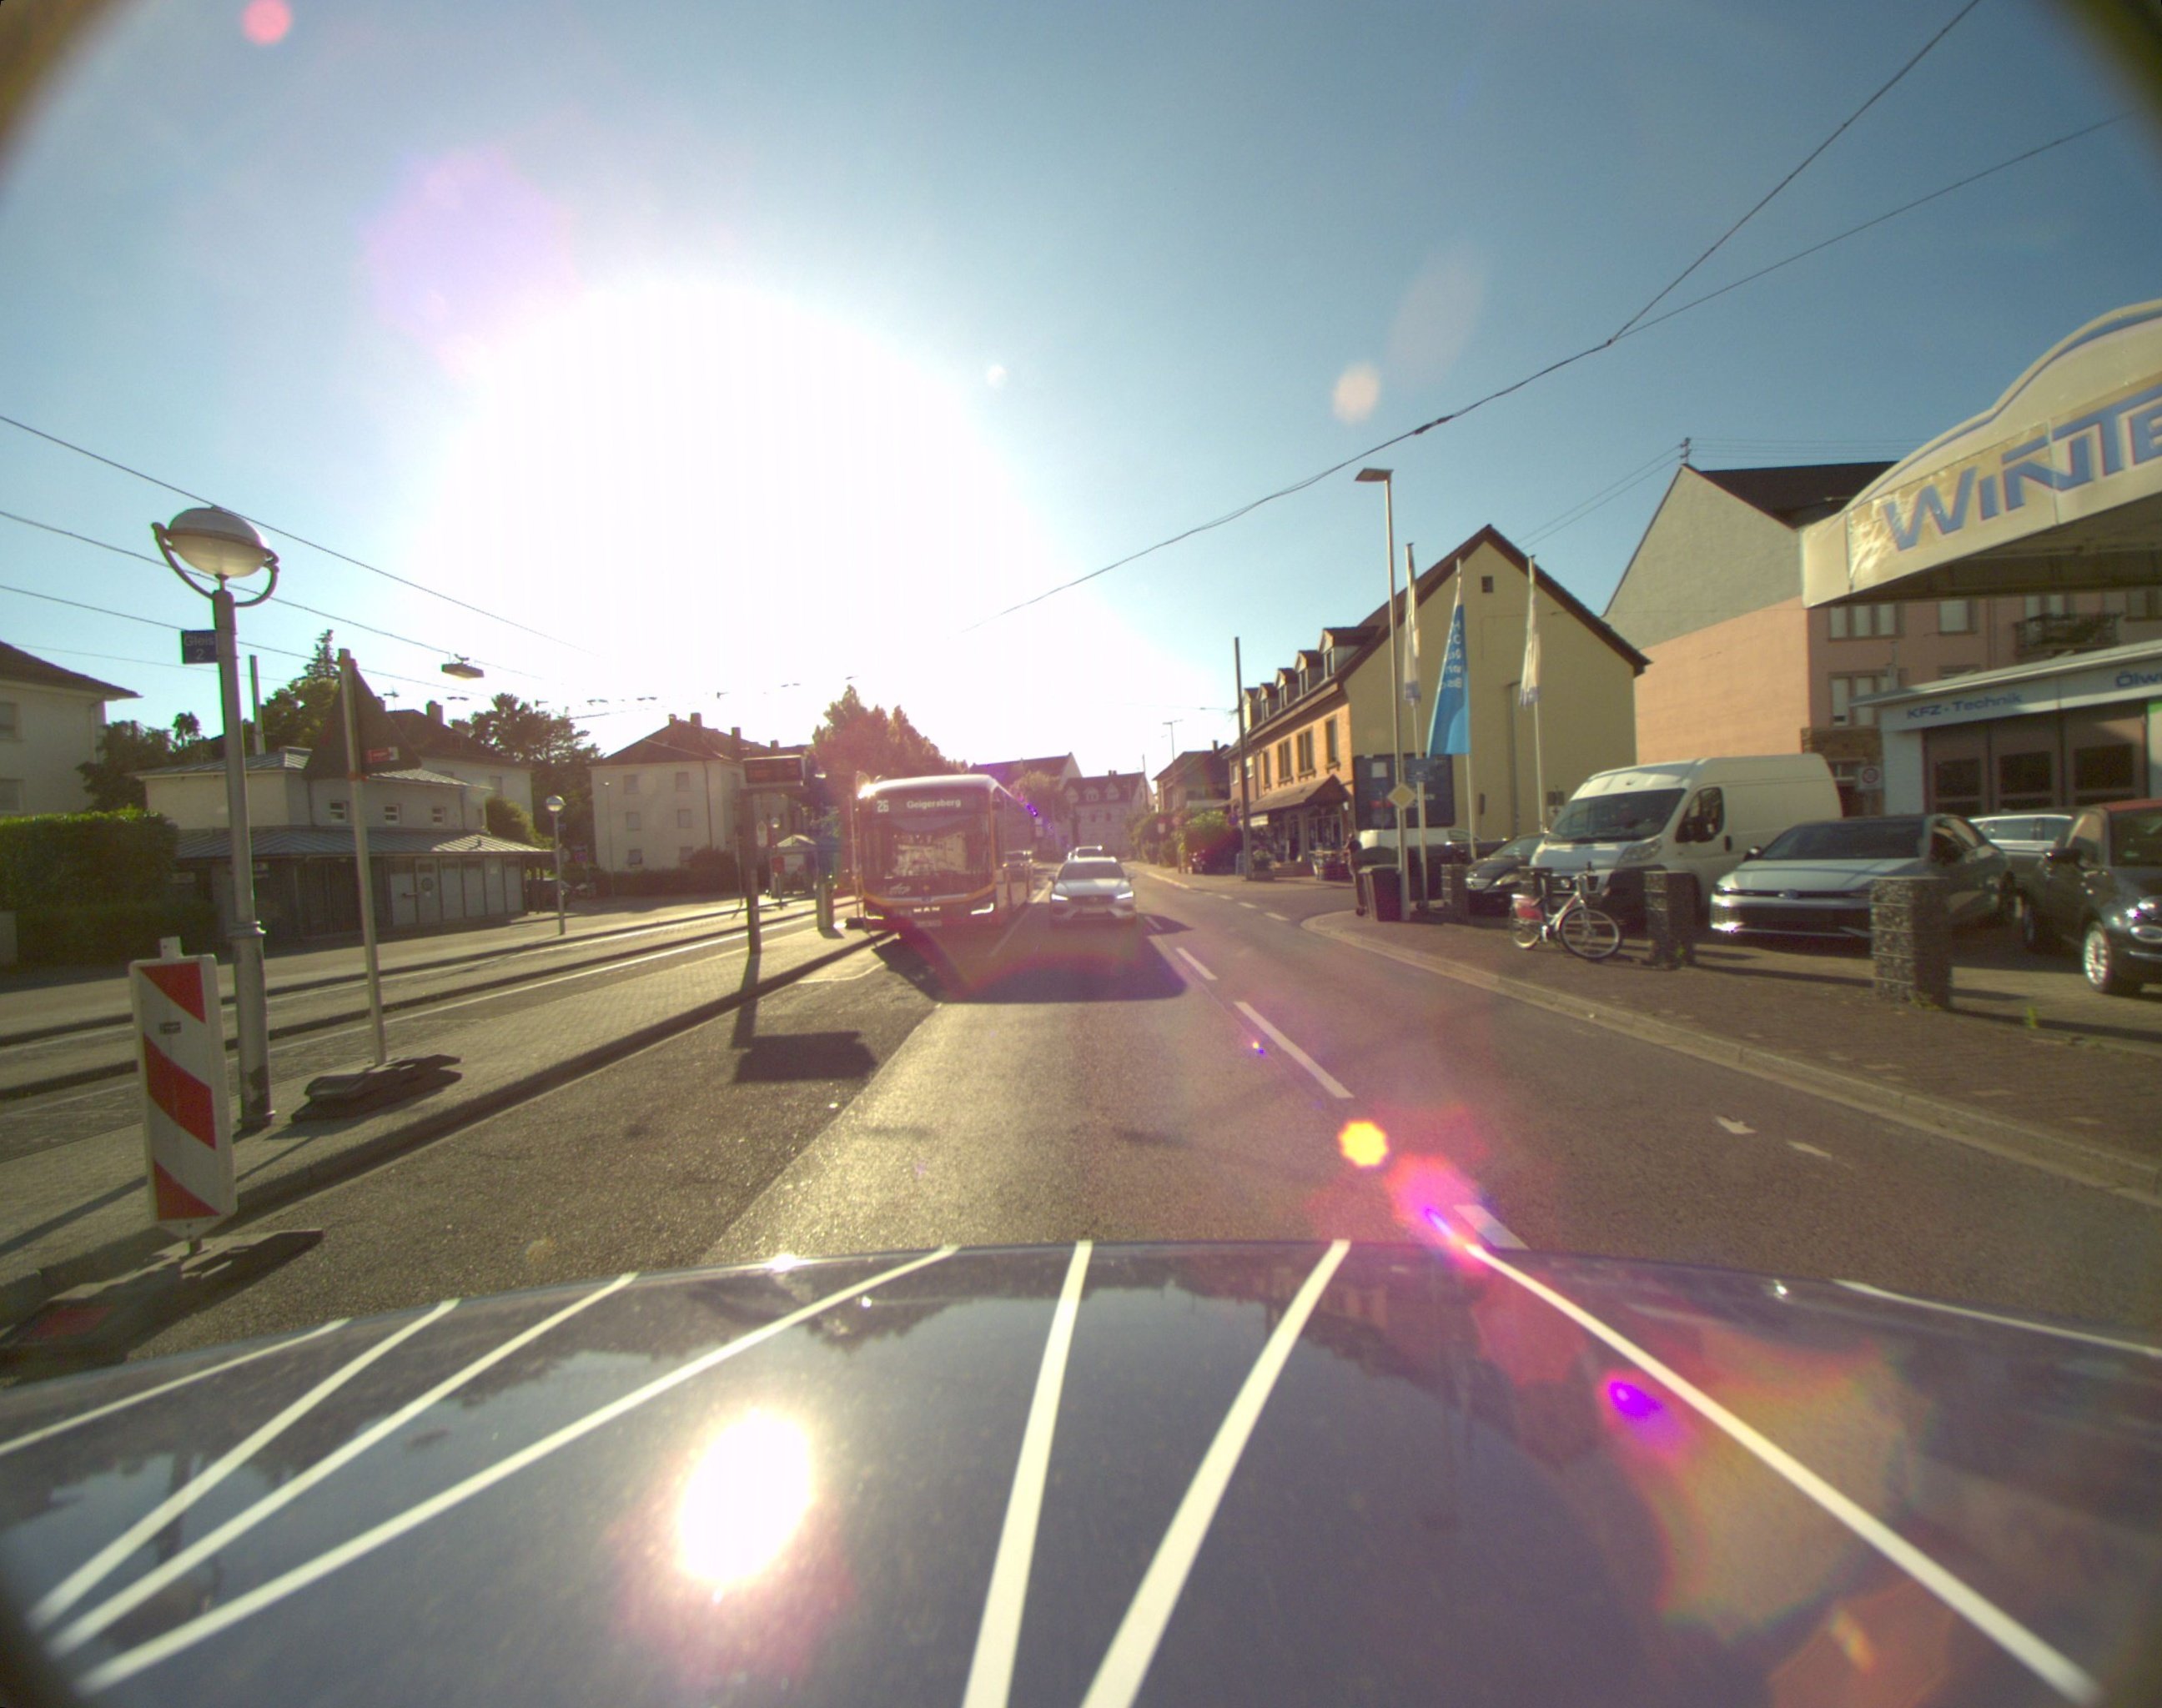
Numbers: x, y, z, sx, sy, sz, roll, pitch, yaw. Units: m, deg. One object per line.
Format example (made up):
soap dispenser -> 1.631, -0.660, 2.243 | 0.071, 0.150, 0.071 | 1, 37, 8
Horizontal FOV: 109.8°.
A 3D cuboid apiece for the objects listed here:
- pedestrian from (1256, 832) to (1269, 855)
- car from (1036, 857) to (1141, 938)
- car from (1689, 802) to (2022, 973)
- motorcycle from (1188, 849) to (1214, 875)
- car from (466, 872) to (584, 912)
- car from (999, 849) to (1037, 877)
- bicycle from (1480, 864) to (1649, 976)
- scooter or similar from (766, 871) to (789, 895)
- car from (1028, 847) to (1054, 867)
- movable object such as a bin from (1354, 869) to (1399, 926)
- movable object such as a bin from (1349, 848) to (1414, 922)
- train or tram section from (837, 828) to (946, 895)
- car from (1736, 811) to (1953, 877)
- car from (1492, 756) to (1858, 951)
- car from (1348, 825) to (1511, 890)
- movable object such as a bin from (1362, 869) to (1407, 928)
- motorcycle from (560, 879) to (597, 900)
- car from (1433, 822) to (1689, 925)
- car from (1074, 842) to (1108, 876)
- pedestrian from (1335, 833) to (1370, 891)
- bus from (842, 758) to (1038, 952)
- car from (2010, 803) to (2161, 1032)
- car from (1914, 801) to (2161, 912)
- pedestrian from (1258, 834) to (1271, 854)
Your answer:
pedestrian -> 9.918, -0.589, 41.548 | 0.524, 1.251, 0.465 | -3, 1, 1
car -> 0.287, 0.867, 17.206 | 1.998, 1.454, 4.450 | -3, 0, 4
car -> 9.359, 0.290, 9.135 | 4.005, 1.559, 1.769 | -4, 0, -29
motorcycle -> 6.320, 0.386, 40.178 | 0.841, 1.275, 2.231 | -4, 1, -3
car -> -27.882, 1.899, 38.201 | 4.448, 1.759, 2.000 | -2, 1, 4
car -> -3.959, 0.538, 48.315 | 1.998, 1.664, 4.000 | -2, 0, 1
bicycle -> 5.878, 0.748, 9.376 | 0.725, 1.171, 1.779 | -3, 1, -9
scooter or similar -> -16.106, 1.521, 40.302 | 0.467, 1.201, 1.210 | -2, 1, 11
car -> -3.578, 0.296, 68.178 | 1.998, 1.664, 4.000 | -2, 0, 1
movable object such as a bin -> 5.870, 0.854, 15.119 | 0.661, 1.056, 0.585 | -5, -1, 12
movable object such as a bin -> 6.410, 0.648, 16.177 | 1.055, 1.473, 1.315 | -4, -2, 28
train or tram section -> -11.664, 0.182, 49.150 | 2.965, 3.514, 15.964 | -2, 2, 0
car -> 21.082, -0.313, 21.134 | 3.997, 1.517, 1.998 | -3, 5, 0
car -> 9.178, -0.112, 11.744 | 5.076, 2.455, 2.105 | -4, 1, -22
car -> 11.873, 0.098, 26.109 | 4.627, 1.922, 1.999 | -3, 1, -2
movable object such as a bin -> 5.813, 0.849, 14.578 | 0.641, 1.063, 0.581 | -3, -2, 12
motorcycle -> -30.981, 2.167, 46.860 | 1.826, 1.155, 0.558 | -3, 1, -3
car -> 9.062, 0.331, 14.438 | 4.001, 1.559, 1.771 | -4, 0, -14
car -> 0.582, 0.301, 48.836 | 1.871, 1.922, 4.791 | -4, 0, -2
pedestrian -> 9.130, 0.260, 25.535 | 0.819, 1.857, 0.795 | -3, 1, 0
bus -> -2.889, -0.012, 19.805 | 2.695, 3.396, 12.017 | -3, 0, 0
car -> 9.106, 0.373, 6.115 | 1.617, 1.559, 3.400 | -2, 1, 43
car -> 16.355, -0.003, 11.899 | 1.772, 1.559, 4.315 | -4, 0, -1
pedestrian -> 9.732, -0.547, 40.313 | 0.525, 1.041, 0.383 | -3, 1, -16
